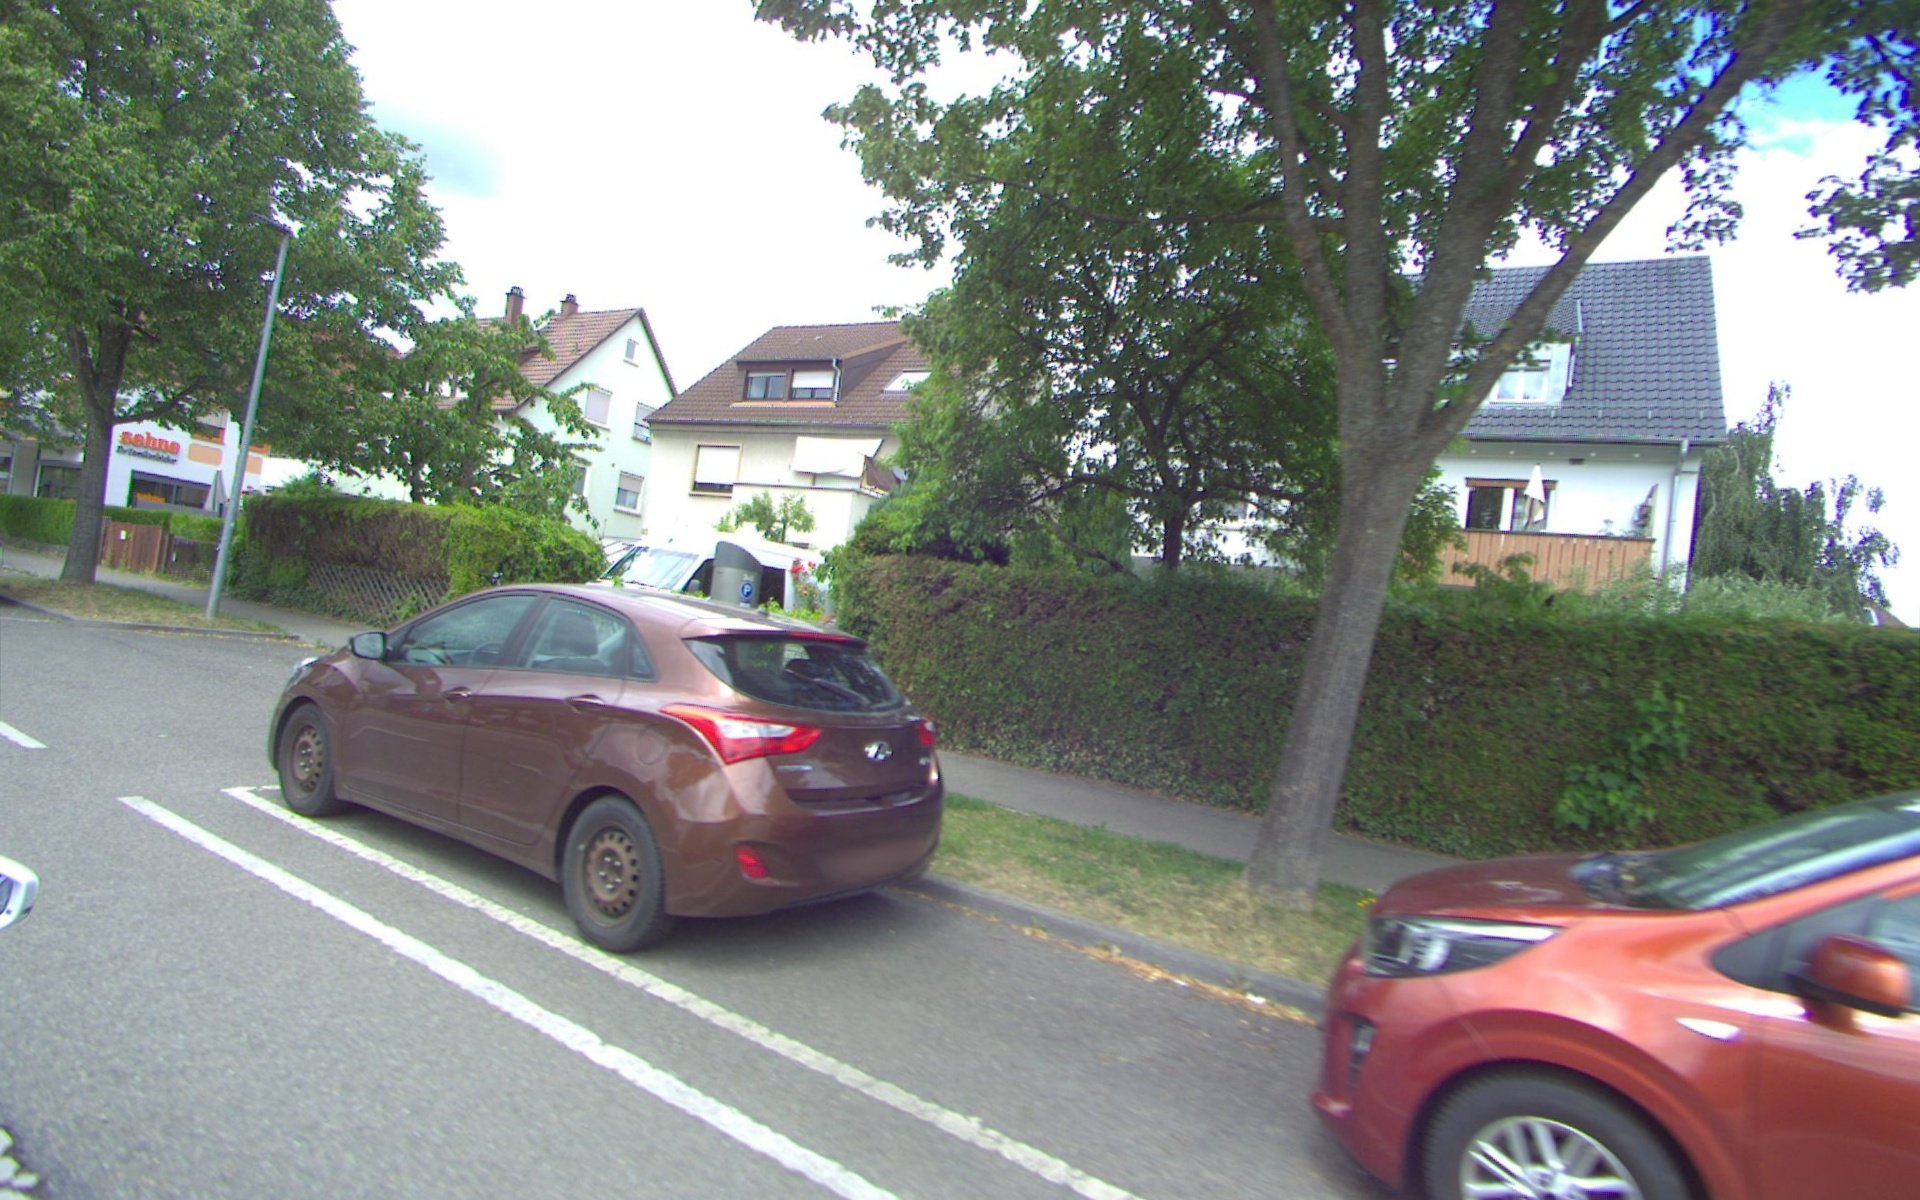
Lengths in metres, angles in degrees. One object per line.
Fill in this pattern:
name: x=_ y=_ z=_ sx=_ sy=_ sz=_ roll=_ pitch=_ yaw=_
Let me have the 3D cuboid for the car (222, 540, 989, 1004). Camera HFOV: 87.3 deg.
car: x=-2.088 y=0.627 z=5.470 sx=4.108 sy=1.433 sz=1.655 roll=7 pitch=-1 yaw=33

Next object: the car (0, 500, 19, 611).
car: x=-15.412 y=-0.909 z=14.192 sx=4.732 sy=1.492 sz=1.809 roll=6 pitch=-2 yaw=31

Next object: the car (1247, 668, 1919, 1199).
car: x=2.815 y=1.173 z=2.523 sx=3.608 sy=1.472 sz=1.568 roll=6 pitch=-2 yaw=33

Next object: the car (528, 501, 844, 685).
car: x=-4.735 y=0.056 z=18.568 sx=1.963 sy=2.621 sz=5.729 roll=8 pitch=-2 yaw=28
